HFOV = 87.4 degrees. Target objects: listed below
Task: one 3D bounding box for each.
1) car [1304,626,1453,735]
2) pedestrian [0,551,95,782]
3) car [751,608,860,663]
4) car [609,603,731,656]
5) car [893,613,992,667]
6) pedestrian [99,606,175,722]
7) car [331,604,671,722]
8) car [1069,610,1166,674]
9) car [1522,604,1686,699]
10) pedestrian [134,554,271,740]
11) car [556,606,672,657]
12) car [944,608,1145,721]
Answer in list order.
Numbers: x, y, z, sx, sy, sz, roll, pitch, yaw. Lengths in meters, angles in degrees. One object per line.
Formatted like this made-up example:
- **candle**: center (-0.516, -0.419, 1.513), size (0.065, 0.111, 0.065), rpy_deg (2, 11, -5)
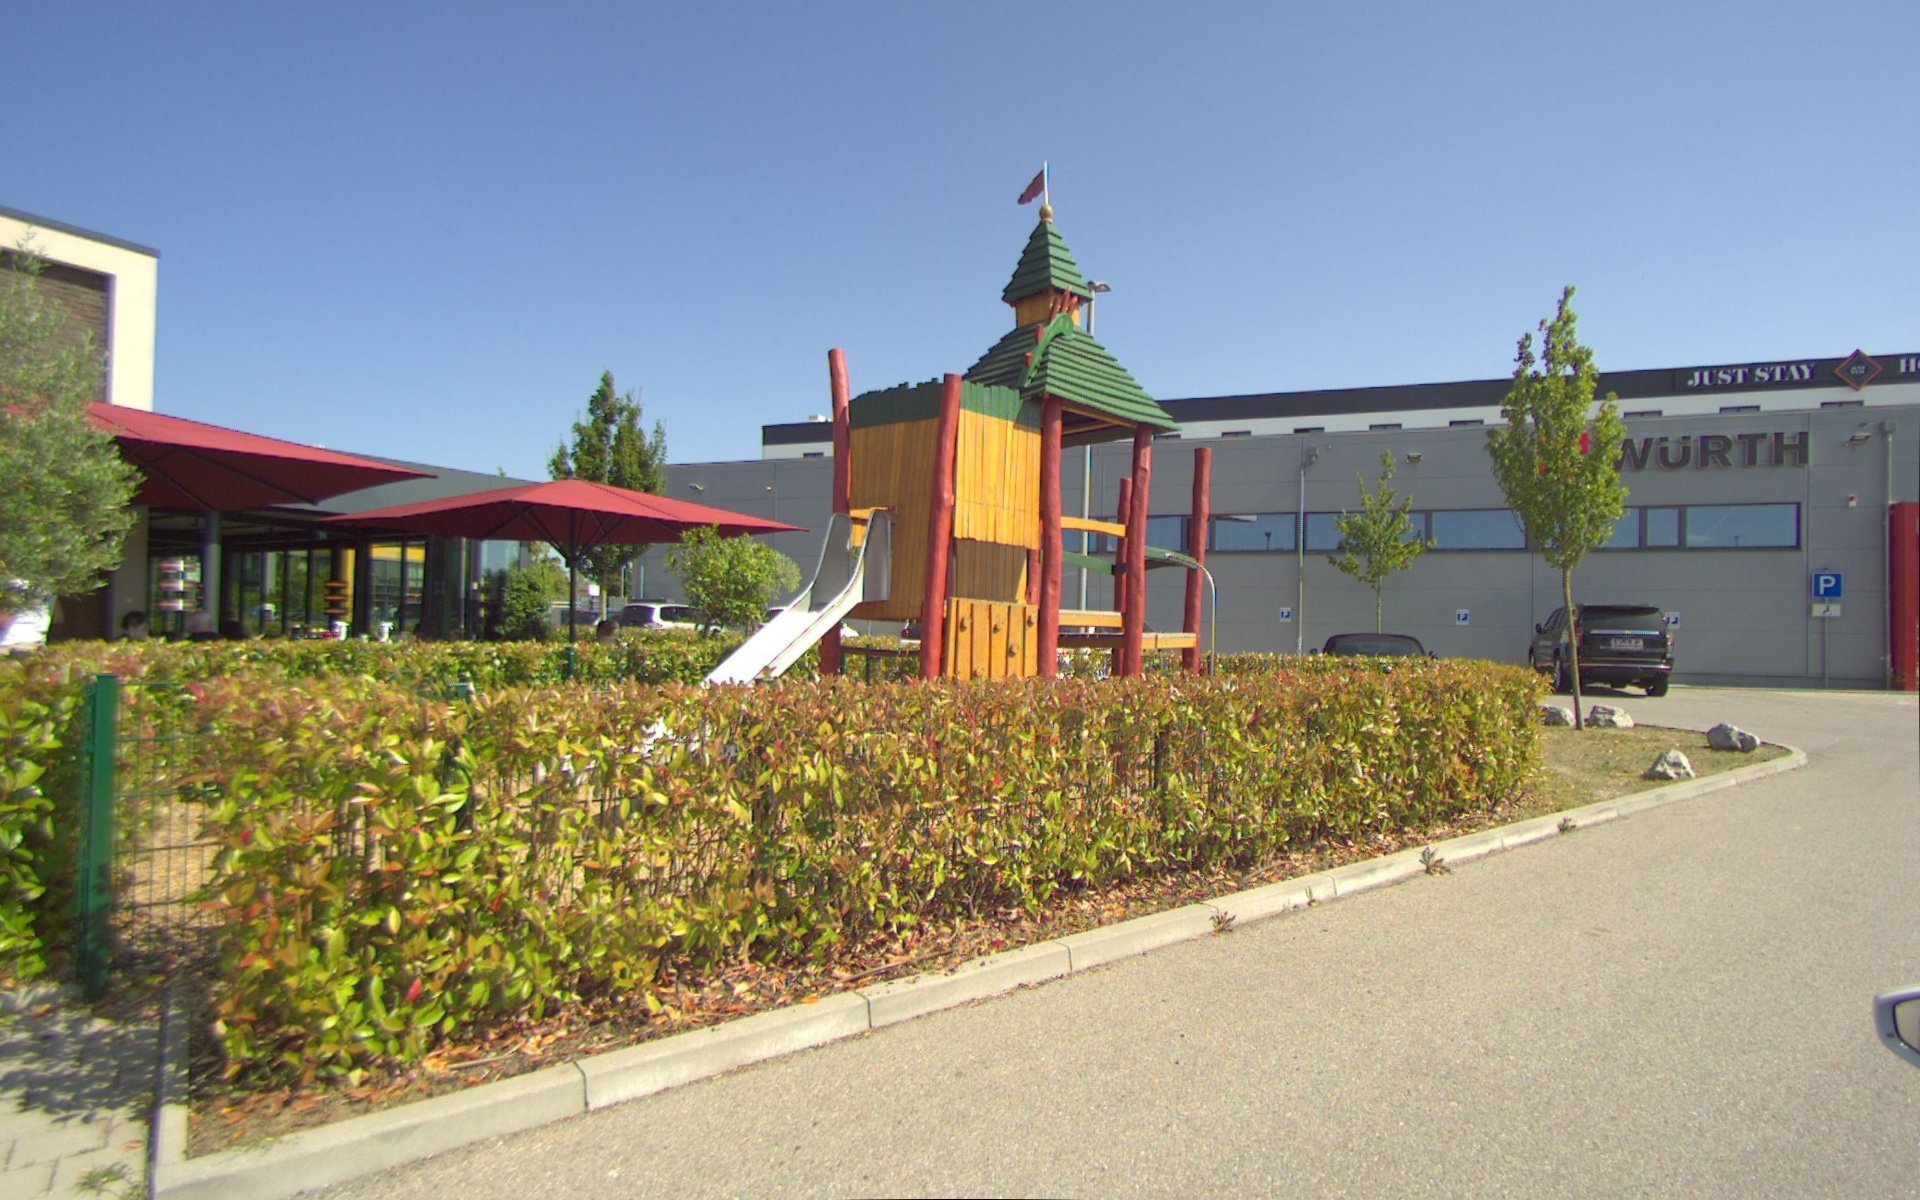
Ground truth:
- **car**: center (6.318, 1.114, 15.544), size (1.831, 1.380, 4.377), rpy_deg (0, -1, 19)
- **pedestrian**: center (-7.347, 0.494, 7.769), size (0.772, 1.710, 0.761), rpy_deg (0, -1, 29)
- **car**: center (-4.747, 1.075, 31.447), size (1.703, 1.588, 3.951), rpy_deg (0, -1, 19)
- **car**: center (-9.315, 0.929, 32.572), size (1.703, 1.588, 3.949), rpy_deg (0, -1, 23)
- **car**: center (-0.448, 1.150, 30.049), size (1.703, 1.507, 3.951), rpy_deg (0, -1, 19)
- **pedestrian**: center (-8.192, 0.617, 10.001), size (0.541, 1.104, 0.571), rpy_deg (1, -1, -43)
- **car**: center (-5.908, 0.757, 13.351), size (1.620, 1.326, 3.831), rpy_deg (0, -2, 33)
- **car**: center (4.490, 1.117, 28.097), size (1.915, 1.607, 4.377), rpy_deg (0, -1, 19)
- **car**: center (14.398, 1.078, 22.791), size (2.037, 1.905, 4.879), rpy_deg (0, -1, 19)
- **pedestrian**: center (-7.039, 0.420, 9.344), size (0.772, 1.636, 0.761), rpy_deg (0, -1, 29)
- **car**: center (-11.570, 1.034, 33.831), size (1.614, 1.588, 3.681), rpy_deg (0, -1, 24)
- **car**: center (1.531, 0.939, 16.357), size (1.917, 1.551, 4.373), rpy_deg (0, -1, 24)
